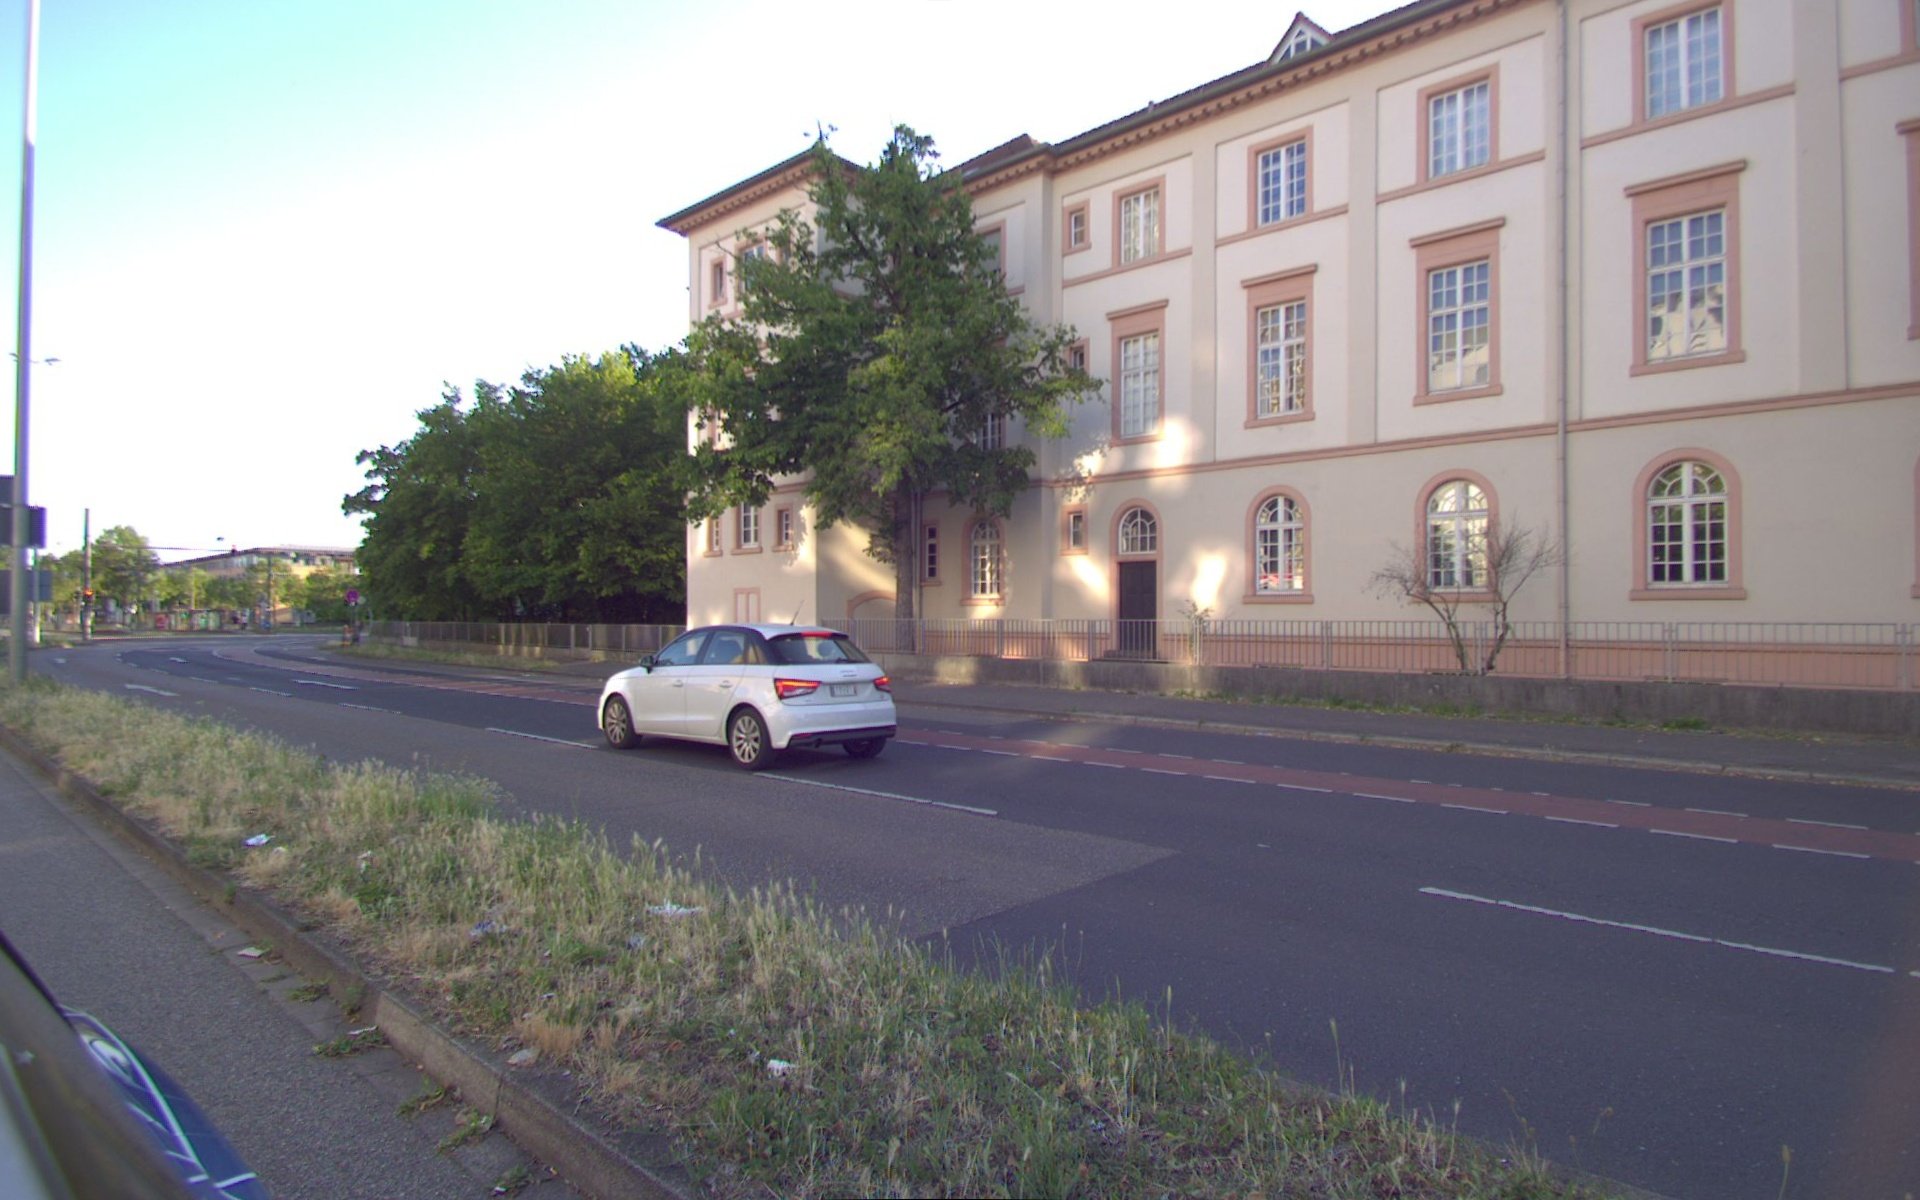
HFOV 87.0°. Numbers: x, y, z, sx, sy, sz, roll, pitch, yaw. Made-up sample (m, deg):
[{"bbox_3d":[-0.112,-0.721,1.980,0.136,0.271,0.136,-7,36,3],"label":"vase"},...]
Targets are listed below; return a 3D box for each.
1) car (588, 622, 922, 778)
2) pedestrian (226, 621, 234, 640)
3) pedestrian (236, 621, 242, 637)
[{"bbox_3d":[-2.319,0.955,10.961,3.685,1.398,1.673,-1,-3,42],"label":"car"},{"bbox_3d":[-79.194,3.293,109.790,0.664,2.029,0.549,-1,-2,41],"label":"pedestrian"},{"bbox_3d":[-78.413,3.178,110.031,0.419,1.718,0.461,-1,-2,41],"label":"pedestrian"}]
